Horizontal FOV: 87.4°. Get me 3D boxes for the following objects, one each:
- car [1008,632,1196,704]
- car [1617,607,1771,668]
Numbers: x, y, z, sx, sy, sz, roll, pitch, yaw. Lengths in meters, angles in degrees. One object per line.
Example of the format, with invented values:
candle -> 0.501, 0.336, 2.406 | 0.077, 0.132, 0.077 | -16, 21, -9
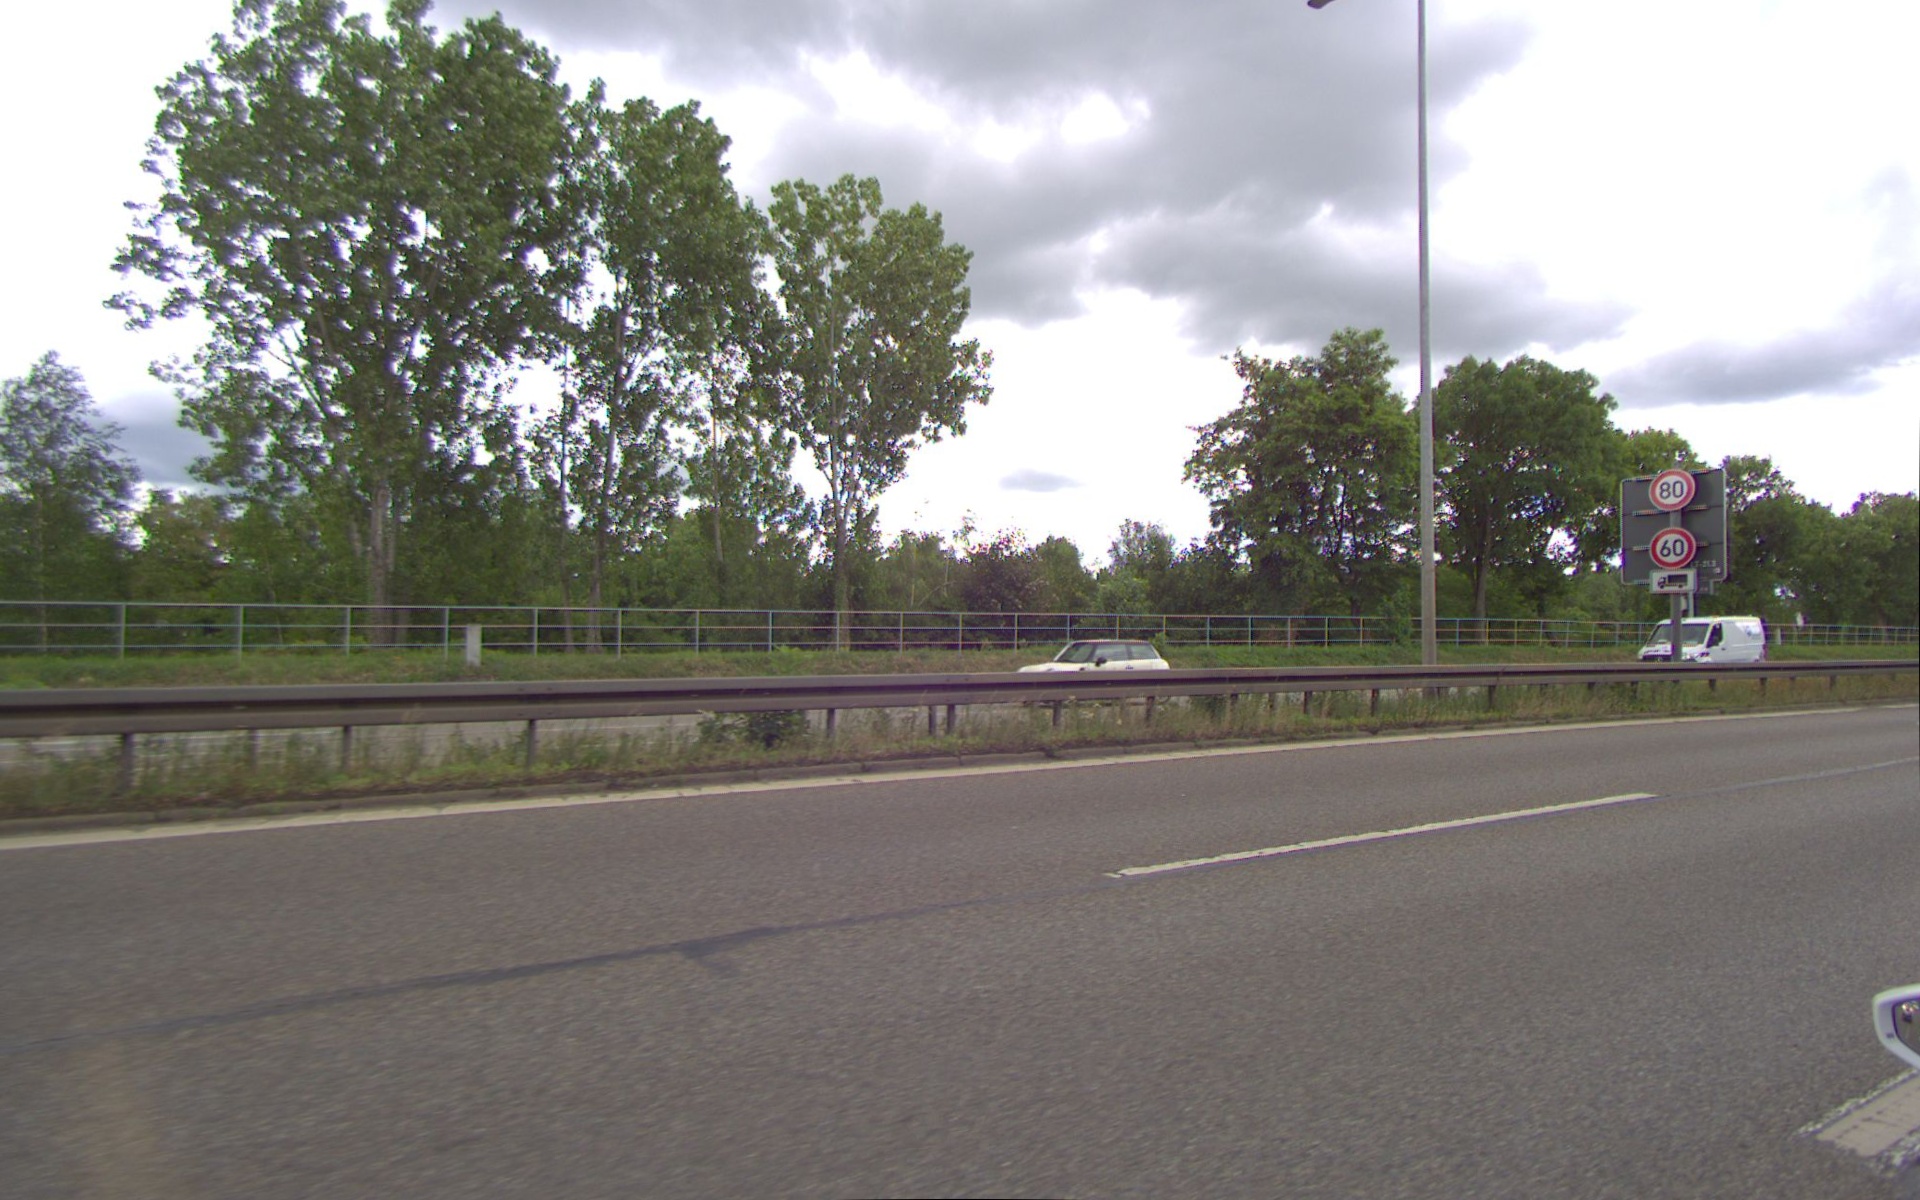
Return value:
car -> 3.135, 1.437, 22.045 | 3.941, 1.417, 1.651 | 1, -1, -30
car -> 25.613, 1.316, 35.021 | 5.405, 1.973, 2.217 | 1, -2, -28
